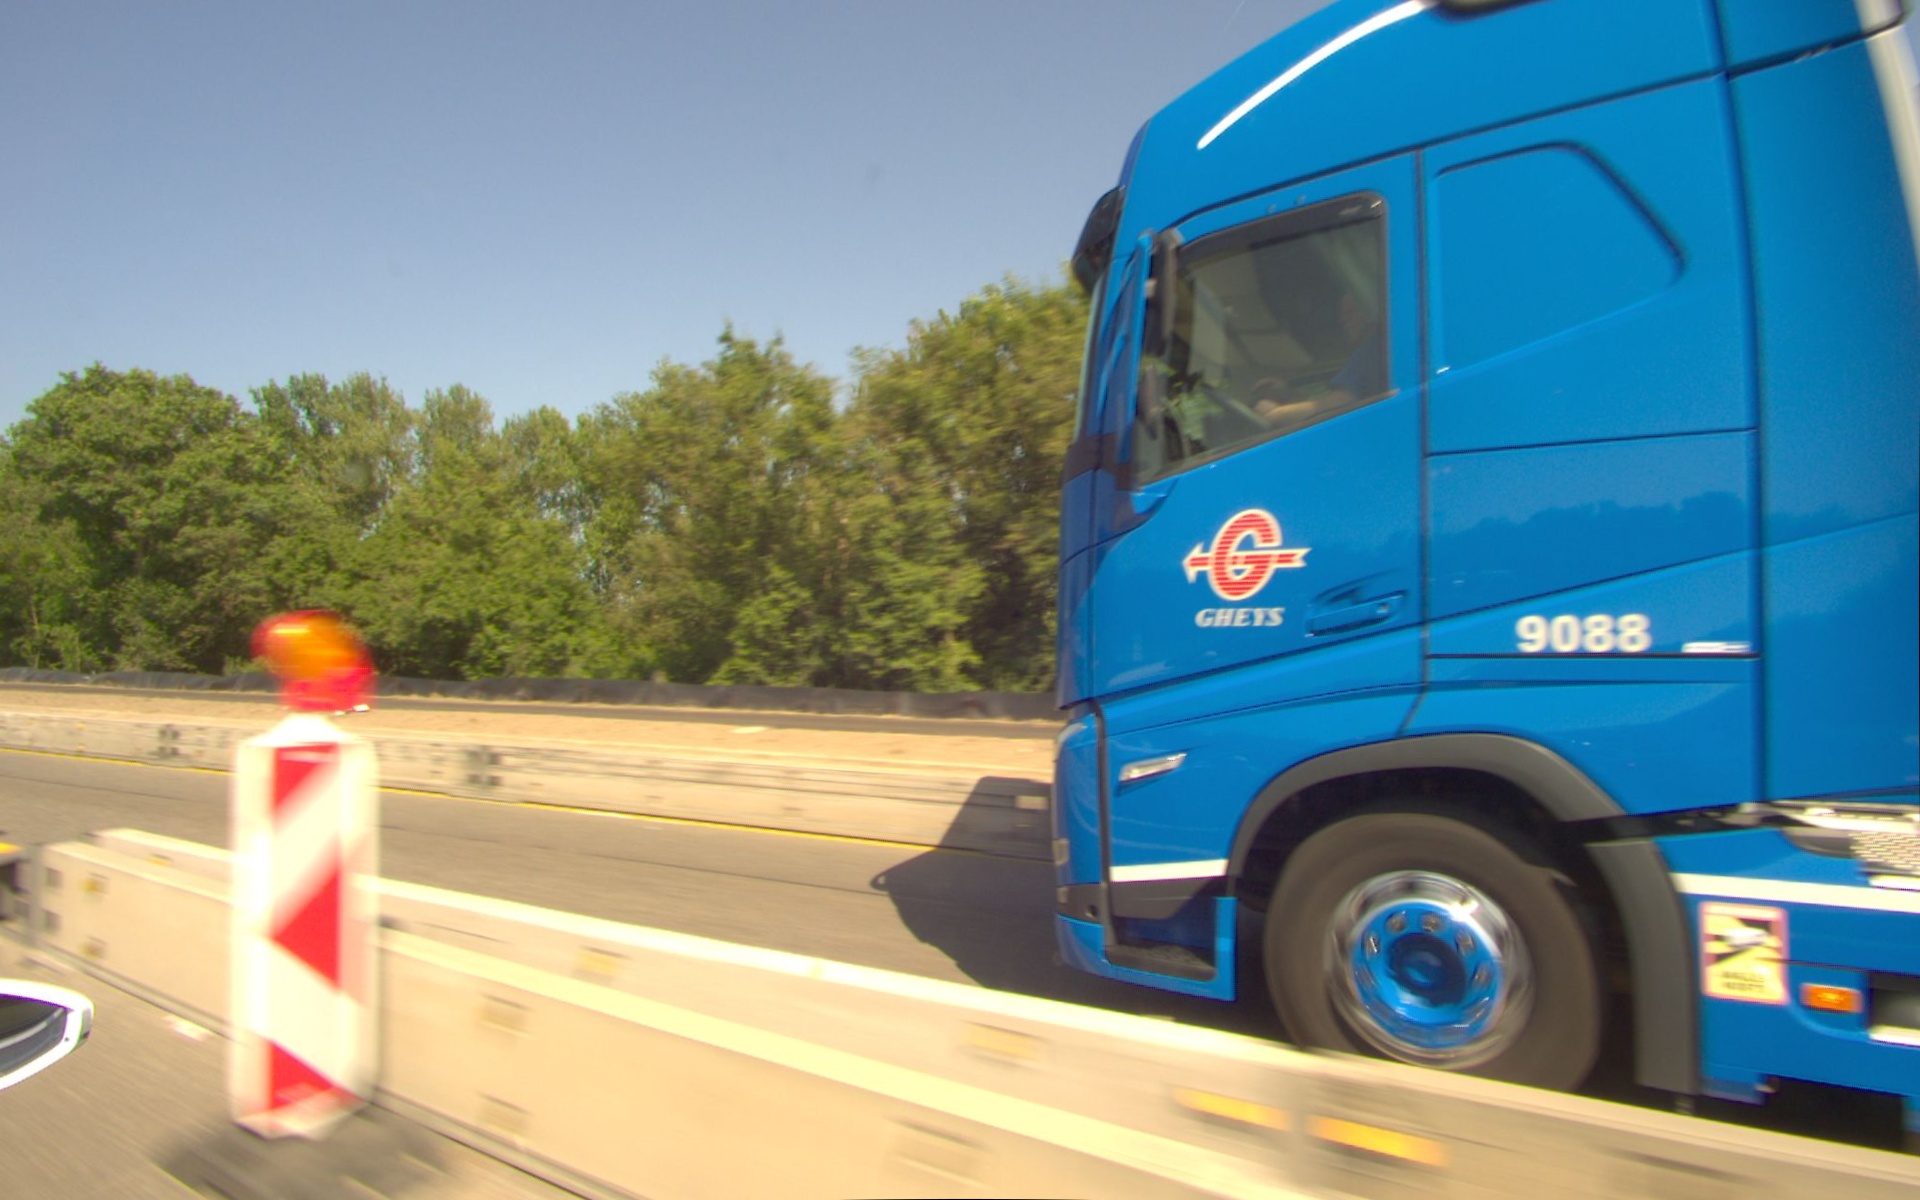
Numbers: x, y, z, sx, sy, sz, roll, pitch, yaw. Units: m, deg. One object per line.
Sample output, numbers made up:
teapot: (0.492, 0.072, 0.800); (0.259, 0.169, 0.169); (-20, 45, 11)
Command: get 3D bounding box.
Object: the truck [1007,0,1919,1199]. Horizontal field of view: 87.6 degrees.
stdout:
truck: (3.972, -0.416, 3.007); (7.184, 4.156, 2.693); (-1, 0, 27)
